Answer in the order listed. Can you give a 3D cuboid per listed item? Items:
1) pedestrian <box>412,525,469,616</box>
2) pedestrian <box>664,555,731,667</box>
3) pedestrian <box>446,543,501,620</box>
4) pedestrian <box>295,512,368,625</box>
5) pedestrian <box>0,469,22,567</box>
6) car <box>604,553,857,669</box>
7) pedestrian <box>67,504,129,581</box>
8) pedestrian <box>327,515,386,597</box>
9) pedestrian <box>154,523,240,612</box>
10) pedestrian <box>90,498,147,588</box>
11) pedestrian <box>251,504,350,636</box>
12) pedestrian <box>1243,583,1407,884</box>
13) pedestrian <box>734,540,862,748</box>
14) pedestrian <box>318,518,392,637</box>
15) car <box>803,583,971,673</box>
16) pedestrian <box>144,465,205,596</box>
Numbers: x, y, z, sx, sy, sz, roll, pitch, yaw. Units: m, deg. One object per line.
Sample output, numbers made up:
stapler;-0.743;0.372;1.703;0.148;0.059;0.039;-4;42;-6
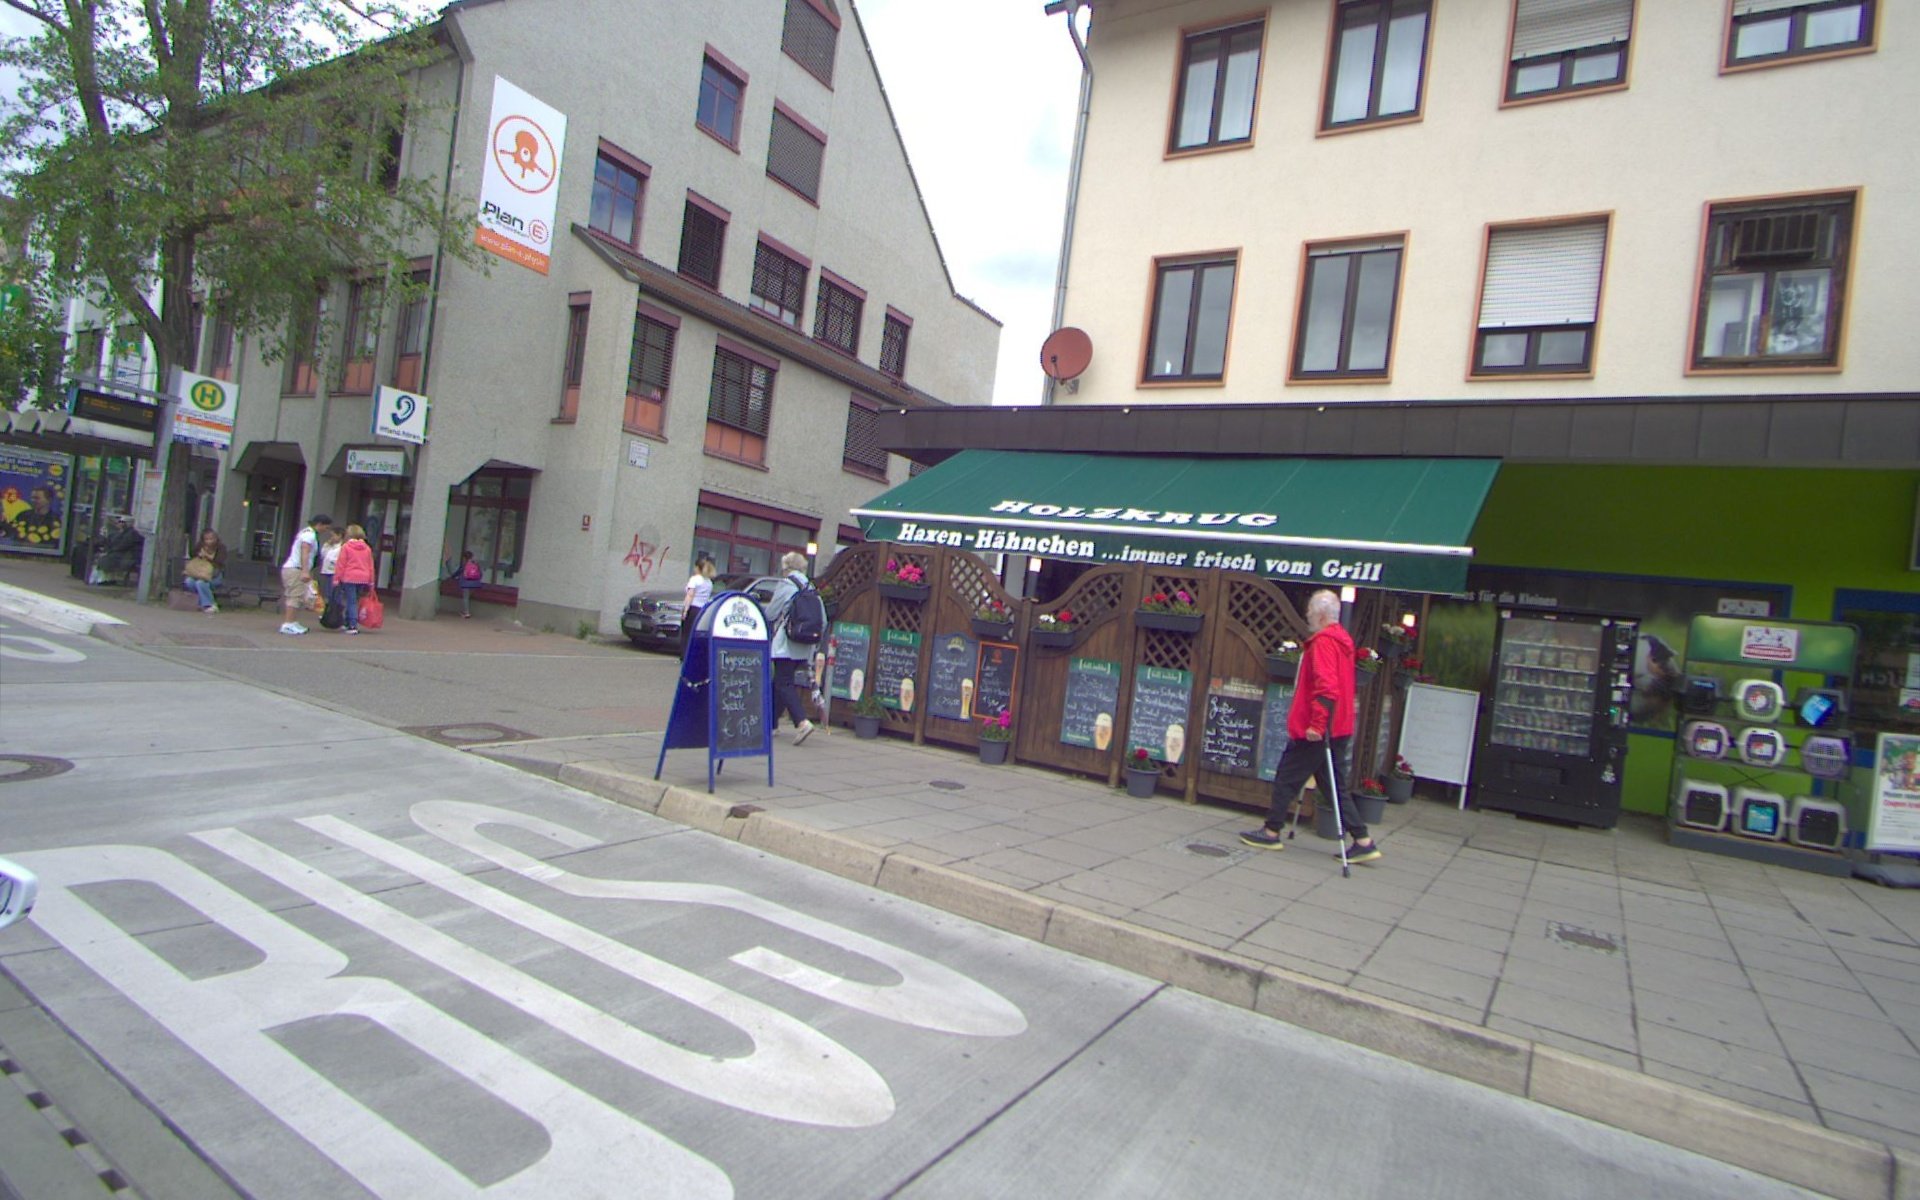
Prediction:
pedestrian;-10.108;-0.573;19.589;0.605;1.654;0.586;8;0;34
pedestrian;-4.123;0.177;15.806;0.605;1.654;0.587;7;0;32
pedestrian;-9.466;-0.364;19.584;0.605;1.392;0.586;8;0;34
pedestrian;-9.799;-0.491;15.690;0.579;1.654;0.613;7;-1;37
pedestrian;-16.758;-1.463;17.237;0.577;1.652;0.537;9;-2;8
car;-4.310;0.283;19.607;1.851;1.638;4.608;7;-2;36
pedestrian;-15.079;-1.008;17.594;0.580;1.248;0.698;7;2;42
pedestrian;-13.153;-0.945;21.941;0.604;1.654;0.727;8;0;24
pedestrian;-11.222;-0.467;14.806;0.577;1.180;0.714;8;0;26
pedestrian;-14.060;-0.951;16.800;0.611;1.419;0.580;5;2;-44
pedestrian;-8.935;-0.392;13.640;0.779;1.654;0.615;8;0;20
pedestrian;2.399;0.820;6.575;0.768;1.764;0.796;6;1;27
pedestrian;-1.472;0.389;9.175;0.768;1.764;0.683;6;1;27
pedestrian;-8.703;-0.326;14.480;0.669;1.585;0.486;9;0;-38
car;-1.642;0.721;24.057;1.808;1.638;3.943;7;-2;34
pedestrian;-12.965;-1.138;16.612;0.611;2.073;0.580;5;2;-44
